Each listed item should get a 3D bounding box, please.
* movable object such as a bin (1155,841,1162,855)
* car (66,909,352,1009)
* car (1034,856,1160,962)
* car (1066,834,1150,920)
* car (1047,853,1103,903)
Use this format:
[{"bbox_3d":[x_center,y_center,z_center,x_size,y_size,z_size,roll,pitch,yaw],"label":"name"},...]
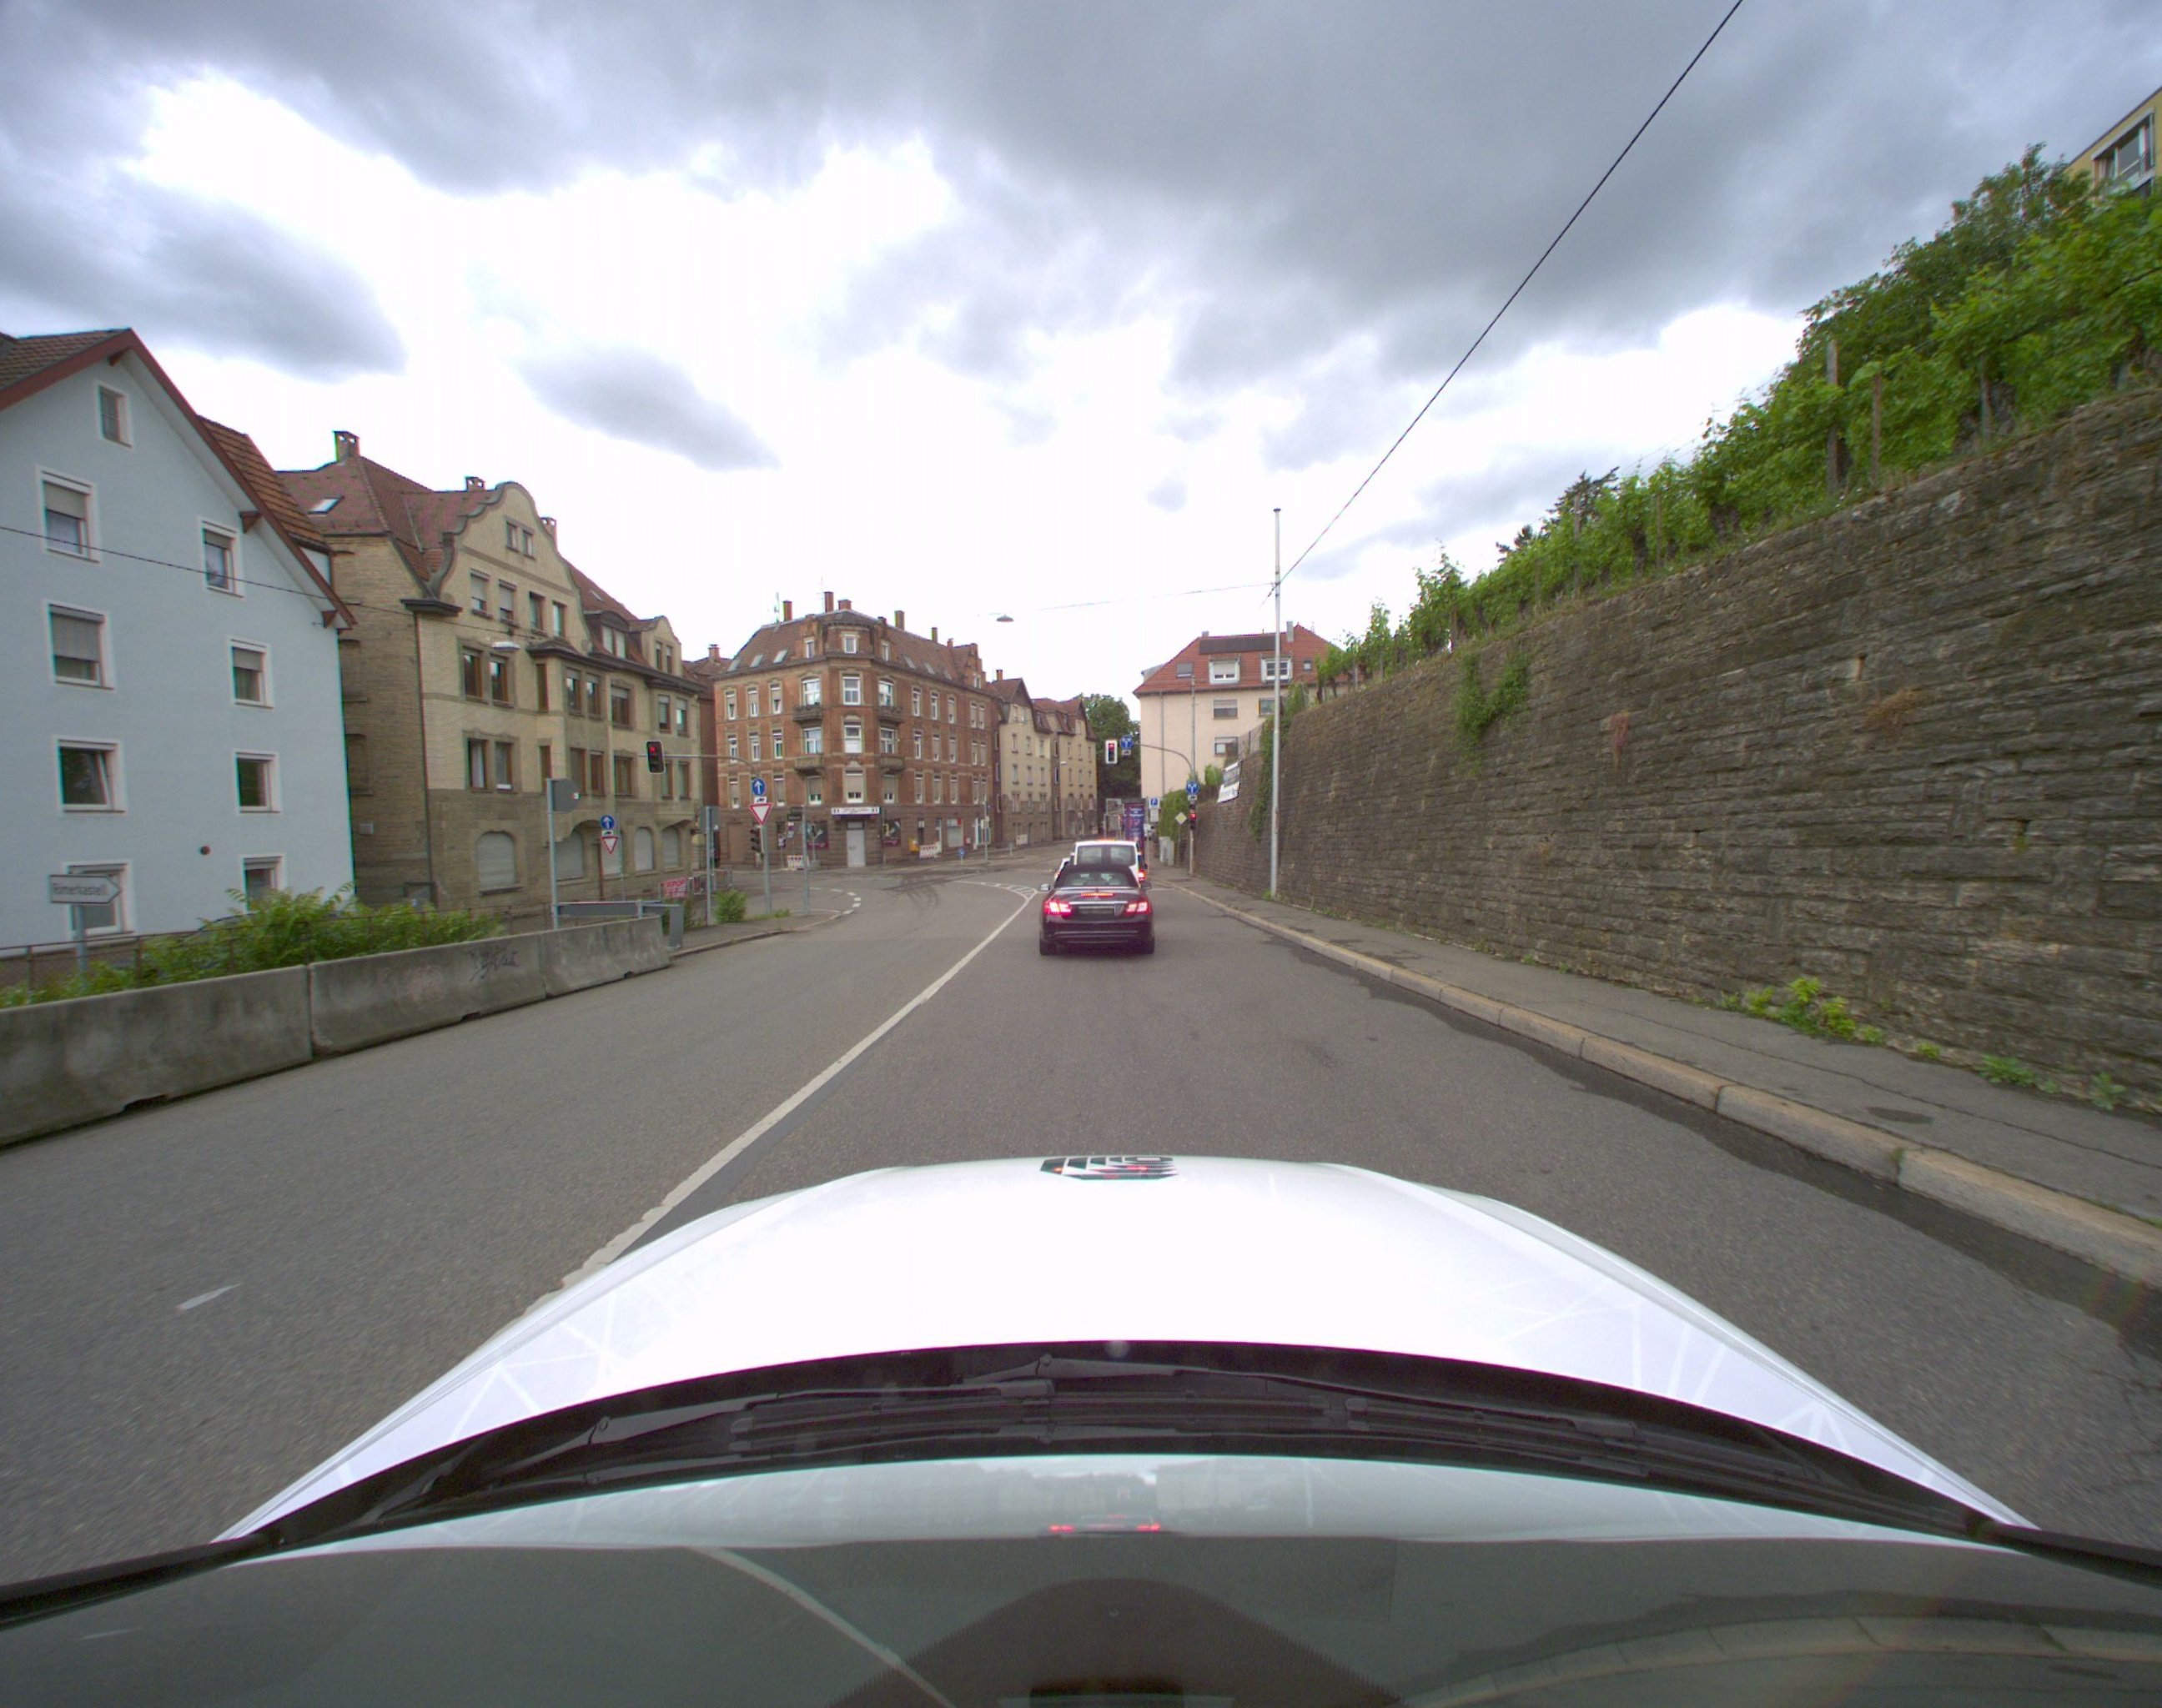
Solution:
[{"bbox_3d":[5.395,-0.427,56.779,0.343,0.911,0.494,-1,0,-4],"label":"movable object such as a bin"},{"bbox_3d":[-19.116,2.217,18.197,1.676,1.555,4.235,-4,1,1],"label":"car"},{"bbox_3d":[0.297,0.798,13.888,1.755,1.409,4.400,-2,0,2],"label":"car"},{"bbox_3d":[0.694,0.516,21.024,1.884,1.929,4.647,-1,0,2],"label":"car"},{"bbox_3d":[-0.146,0.745,27.162,1.674,1.466,3.920,-1,0,2],"label":"car"}]
